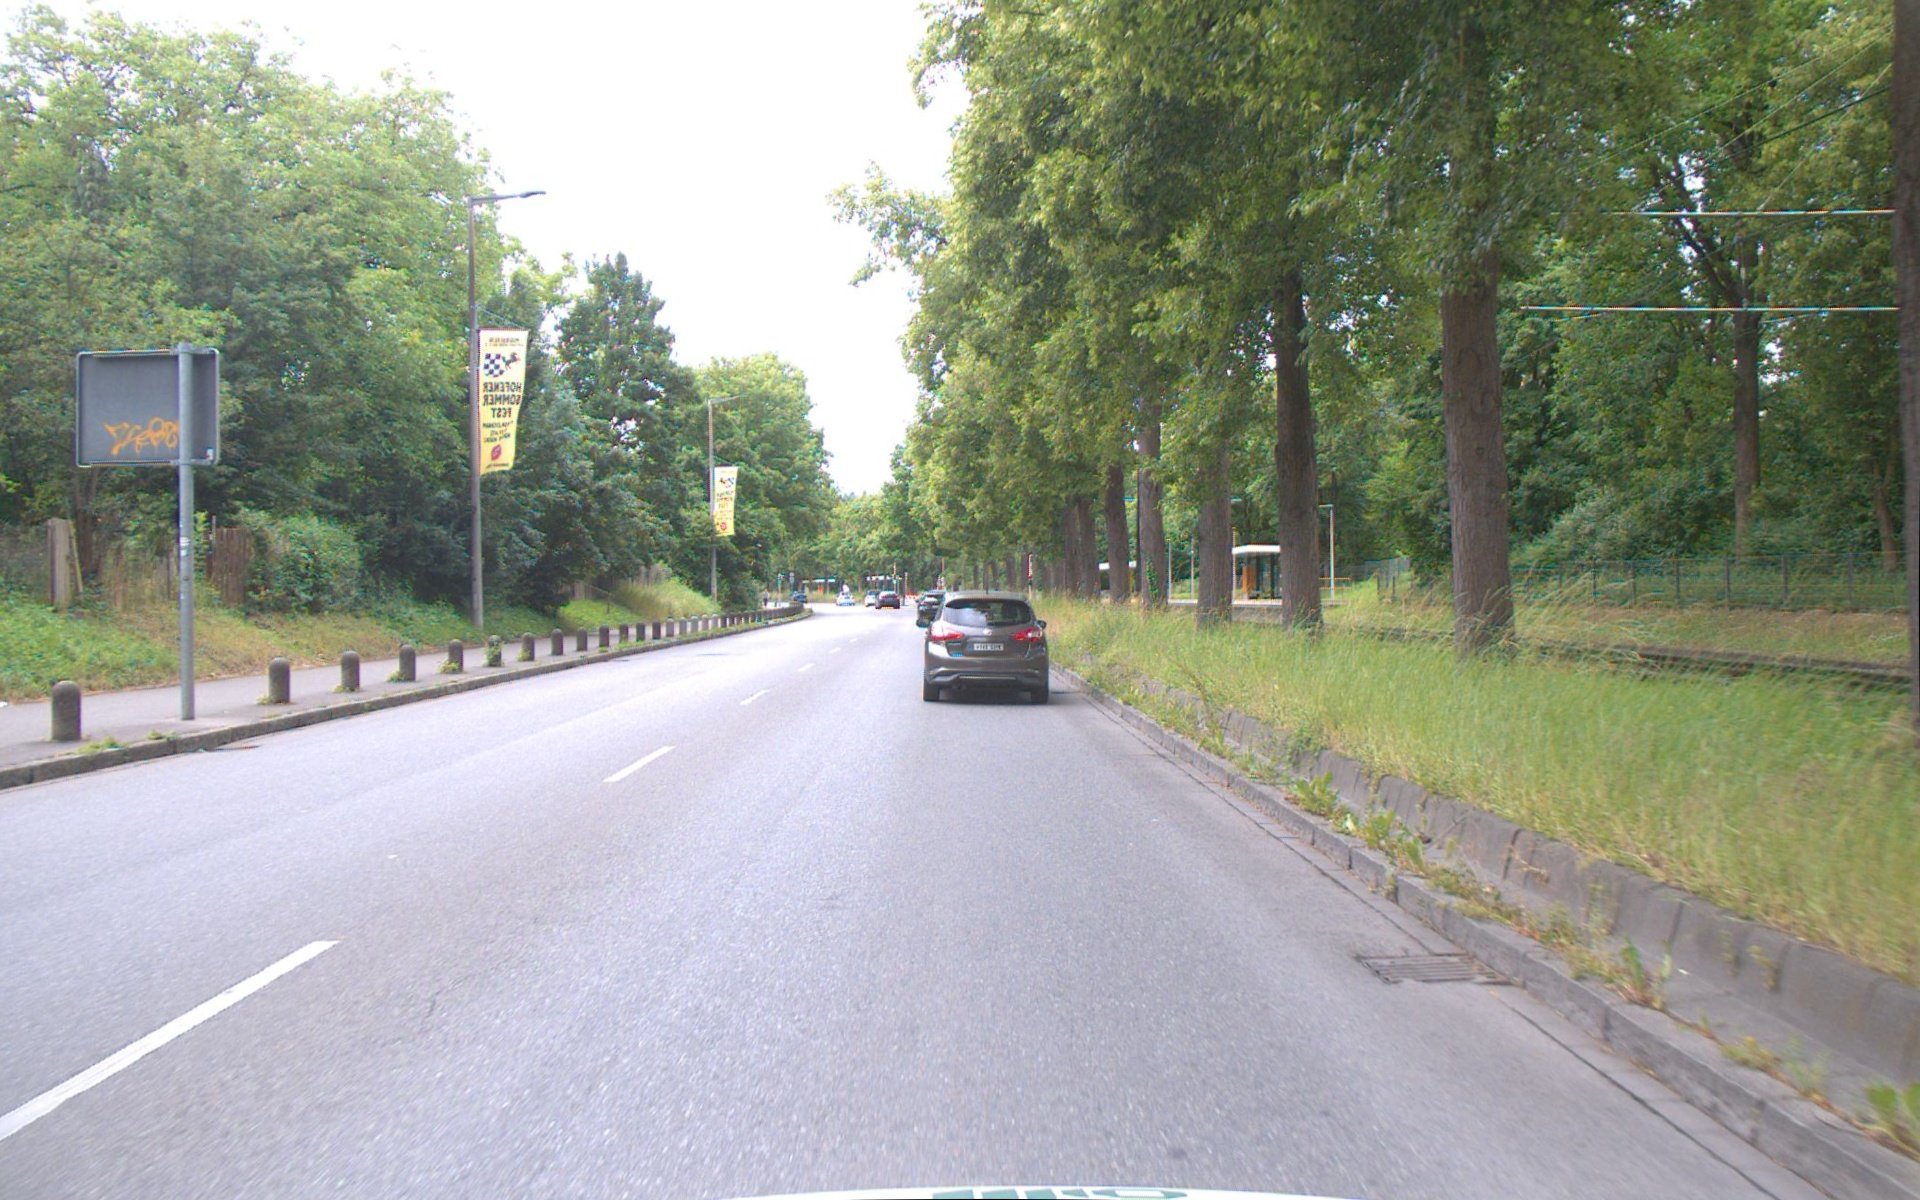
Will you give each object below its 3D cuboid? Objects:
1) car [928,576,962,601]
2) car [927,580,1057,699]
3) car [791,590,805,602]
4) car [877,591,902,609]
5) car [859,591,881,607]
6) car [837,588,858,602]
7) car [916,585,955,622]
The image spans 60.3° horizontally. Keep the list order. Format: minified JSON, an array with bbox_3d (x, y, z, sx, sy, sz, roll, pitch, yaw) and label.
[{"bbox_3d":[-0.937,-0.687,98.769,1.532,1.466,3.545,1,0,-9],"label":"car"},{"bbox_3d":[0.394,0.513,23.874,1.695,1.564,3.551,1,0,-2],"label":"car"},{"bbox_3d":[-20.463,-0.457,208.718,1.533,1.466,3.542,1,0,-11],"label":"car"},{"bbox_3d":[-5.876,-0.019,138.209,1.534,1.466,3.541,1,0,-12],"label":"car"},{"bbox_3d":[-8.343,-0.094,153.695,1.534,1.466,3.541,1,0,-12],"label":"car"},{"bbox_3d":[-11.940,-0.553,175.569,1.536,1.466,3.537,1,0,-15],"label":"car"},{"bbox_3d":[-1.101,0.126,72.946,1.695,1.564,3.551,1,0,-2],"label":"car"}]
